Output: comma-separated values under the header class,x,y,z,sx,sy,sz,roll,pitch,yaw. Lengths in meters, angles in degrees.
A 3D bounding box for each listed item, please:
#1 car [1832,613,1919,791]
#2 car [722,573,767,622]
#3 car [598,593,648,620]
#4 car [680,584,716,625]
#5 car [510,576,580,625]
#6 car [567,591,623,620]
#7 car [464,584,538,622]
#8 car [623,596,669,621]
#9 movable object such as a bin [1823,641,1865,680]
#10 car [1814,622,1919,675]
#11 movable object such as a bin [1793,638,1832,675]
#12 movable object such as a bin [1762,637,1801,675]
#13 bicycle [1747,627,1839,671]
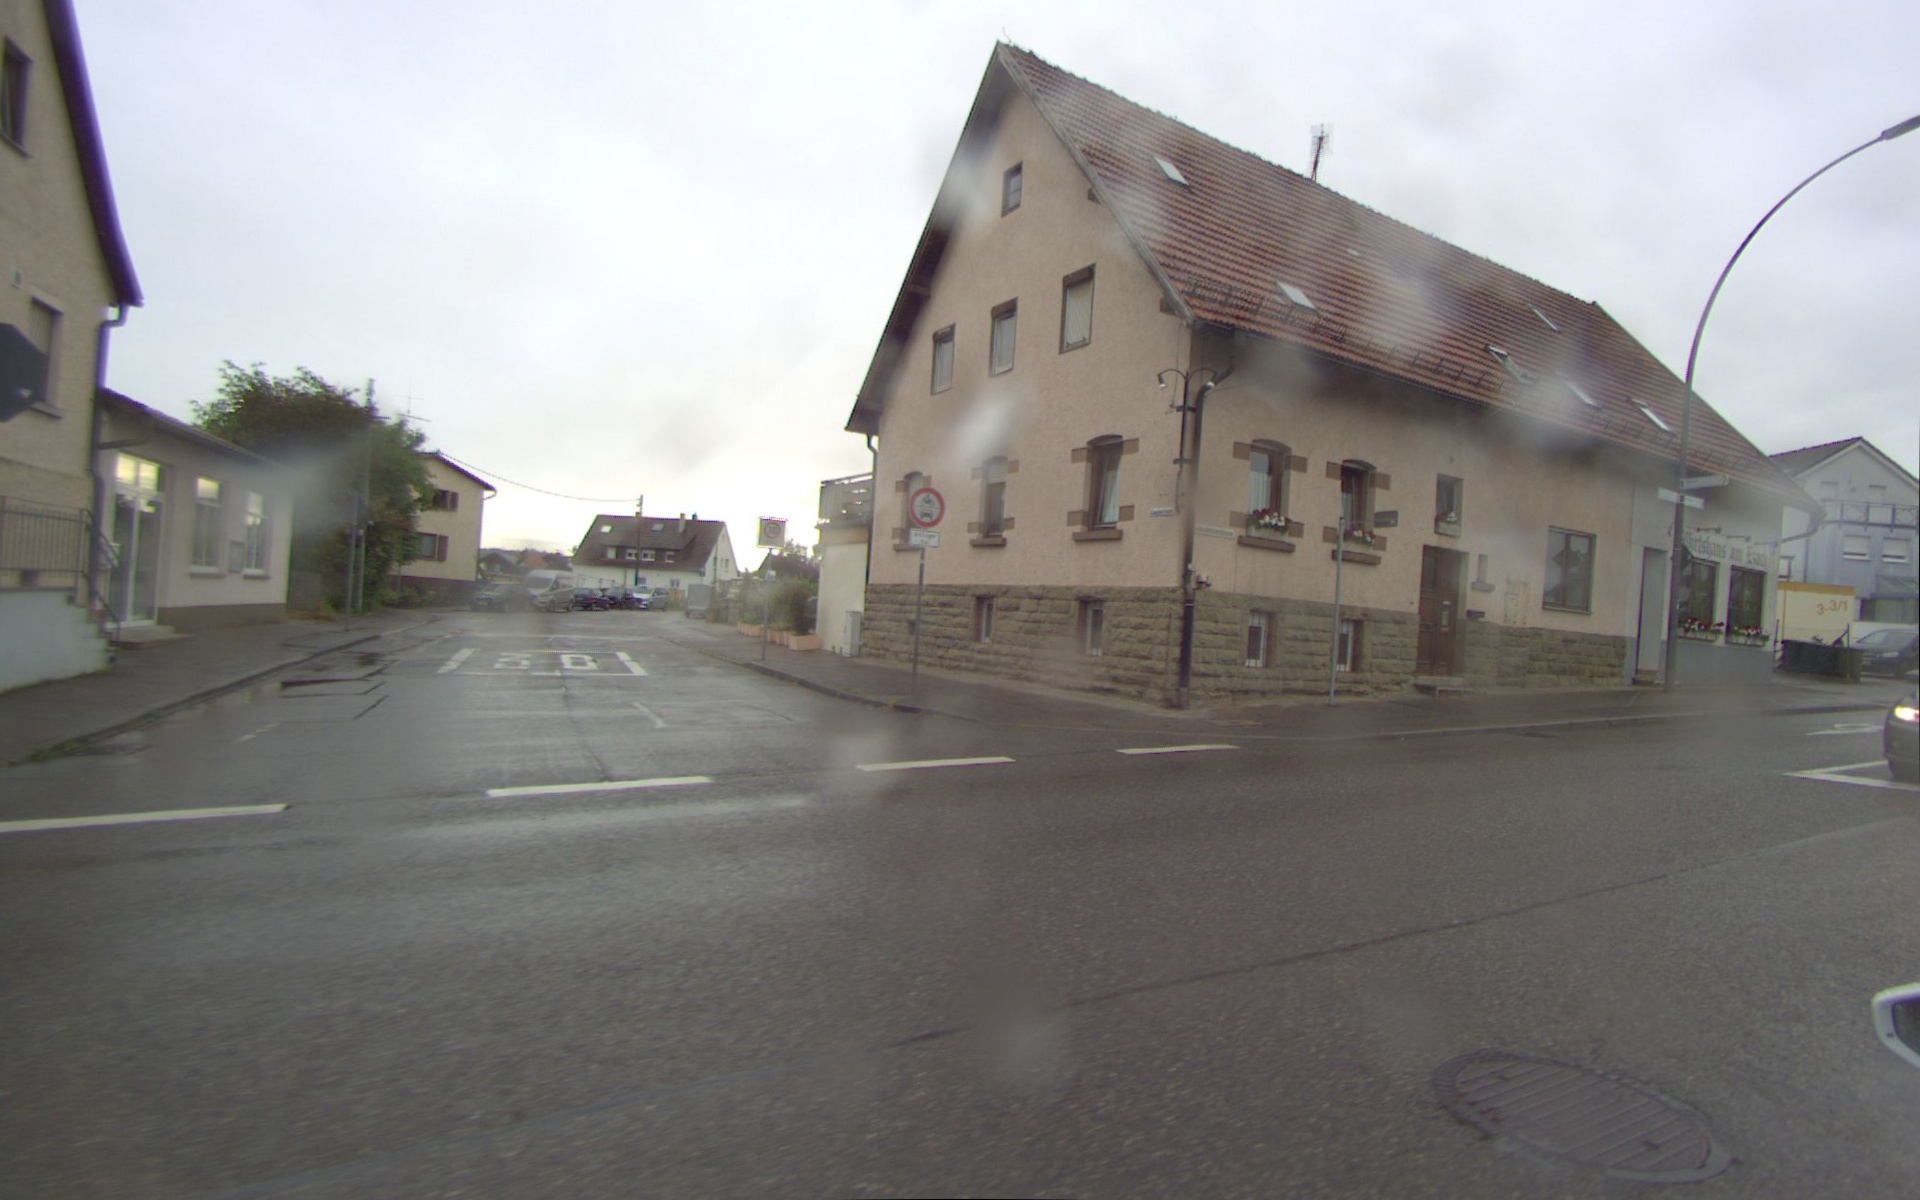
class,x,y,z,sx,sy,sz,roll,pitch,yaw
car,10.483,0.967,10.047,4.189,1.595,1.929,2,-1,-38
car,-12.876,-0.078,60.256,1.961,2.775,3.999,1,-2,-3
car,-23.402,0.453,69.844,1.960,1.742,4.002,1,-2,3
car,-16.247,0.310,62.352,1.966,2.408,3.991,1,-2,-13
car,-23.449,0.067,56.928,1.960,2.574,4.288,1,-2,3
car,-23.331,0.380,64.342,1.960,1.700,4.002,1,-2,3
car,-23.642,0.196,51.932,1.961,1.773,4.000,1,-2,-1
car,-23.263,0.646,74.633,1.960,1.742,4.002,1,-2,3
movable object such as a bin,24.506,1.664,27.848,0.663,1.046,0.637,2,-1,-18
car,29.073,1.515,31.273,3.762,1.461,1.902,2,2,-13
movable object such as a bin,24.255,1.600,28.583,0.595,1.046,0.637,2,-1,-18
movable object such as a bin,24.244,1.649,29.660,0.595,1.046,0.637,2,2,-18
bicycle,25.760,1.490,31.120,0.725,1.128,2.098,4,2,-14
